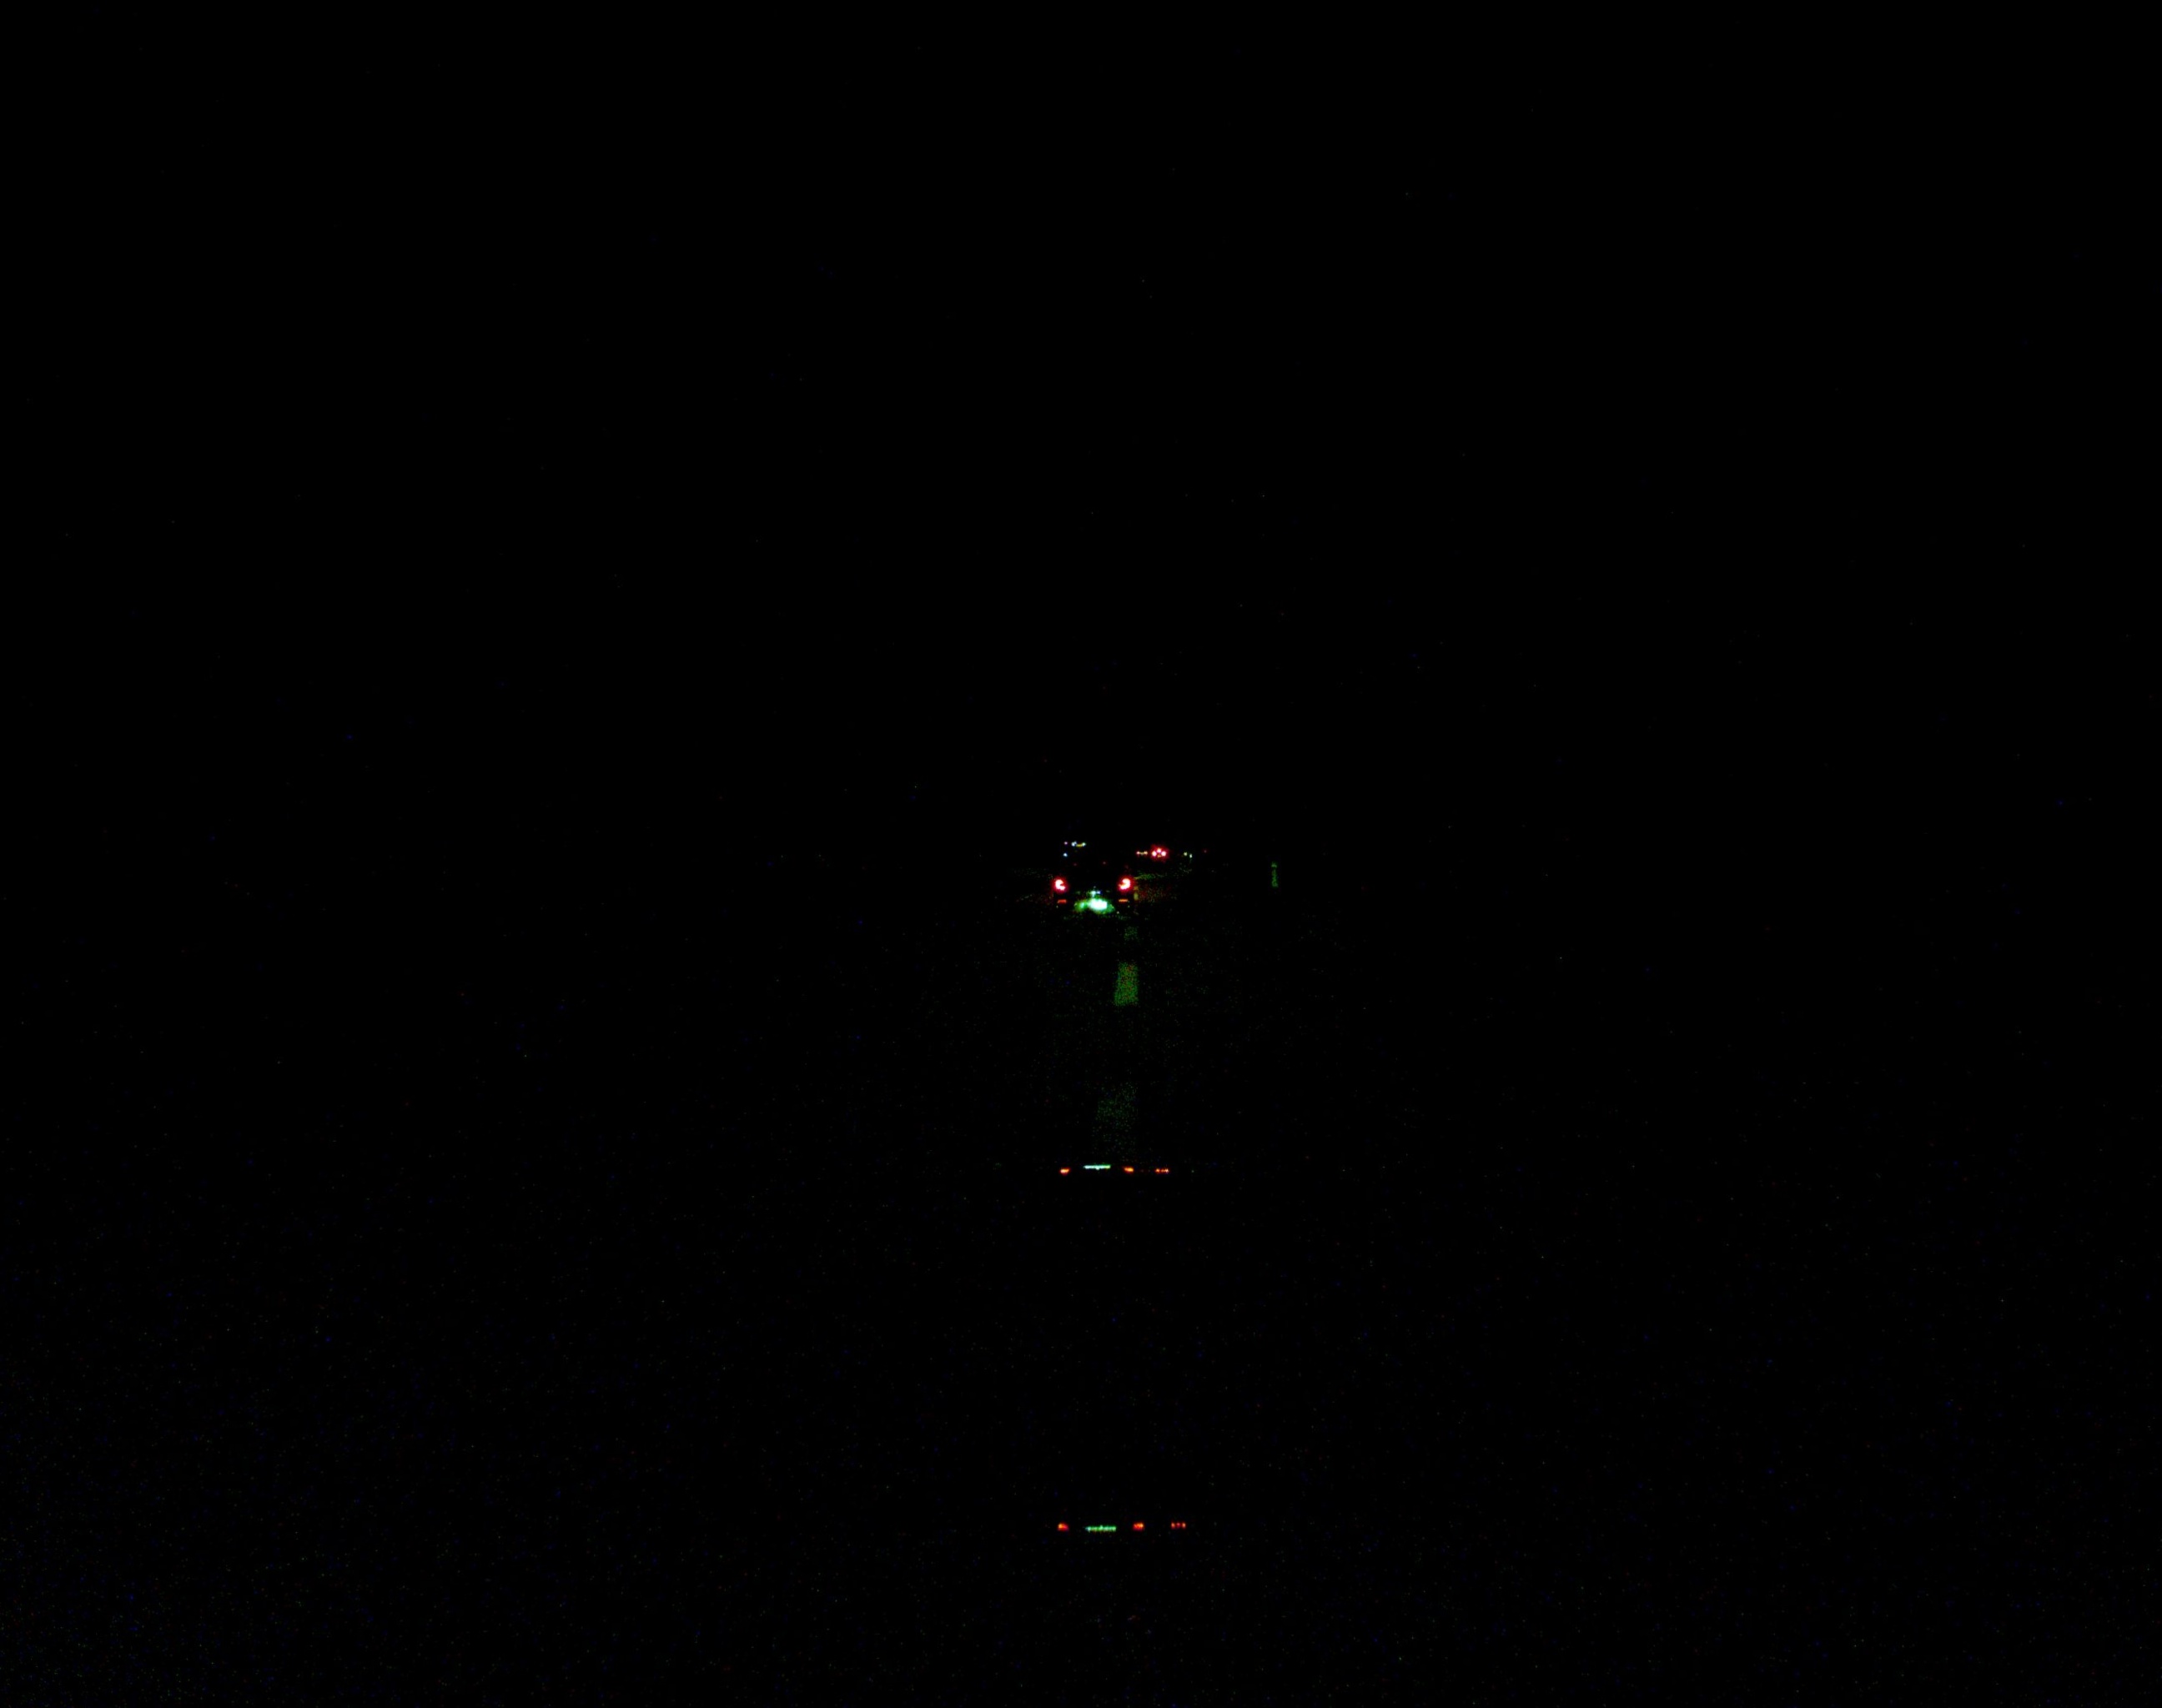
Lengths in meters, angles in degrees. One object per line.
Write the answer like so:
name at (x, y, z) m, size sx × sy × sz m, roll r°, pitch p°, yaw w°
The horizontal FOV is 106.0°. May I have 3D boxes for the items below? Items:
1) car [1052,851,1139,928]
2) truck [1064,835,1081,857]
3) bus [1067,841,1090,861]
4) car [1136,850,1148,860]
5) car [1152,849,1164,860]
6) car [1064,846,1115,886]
car at (0.282, 0.687, 17.851) m, size 1.686 × 1.478 × 3.999 m, roll 0°, pitch 0°, yaw 0°
truck at (-1.728, -1.571, 162.262) m, size 2.663 × 4.177 × 5.878 m, roll -1°, pitch 0°, yaw 6°
bus at (-0.353, -0.562, 148.188) m, size 2.909 × 3.387 × 12.326 m, roll -1°, pitch 1°, yaw 5°
car at (10.666, 0.165, 142.514) m, size 1.942 × 1.538 × 4.246 m, roll -5°, pitch -2°, yaw 4°
car at (11.540, 0.105, 122.226) m, size 1.726 × 1.618 × 3.801 m, roll -1°, pitch 0°, yaw 3°
car at (0.433, 0.483, 35.305) m, size 1.931 × 1.608 × 4.649 m, roll 0°, pitch 0°, yaw 4°
